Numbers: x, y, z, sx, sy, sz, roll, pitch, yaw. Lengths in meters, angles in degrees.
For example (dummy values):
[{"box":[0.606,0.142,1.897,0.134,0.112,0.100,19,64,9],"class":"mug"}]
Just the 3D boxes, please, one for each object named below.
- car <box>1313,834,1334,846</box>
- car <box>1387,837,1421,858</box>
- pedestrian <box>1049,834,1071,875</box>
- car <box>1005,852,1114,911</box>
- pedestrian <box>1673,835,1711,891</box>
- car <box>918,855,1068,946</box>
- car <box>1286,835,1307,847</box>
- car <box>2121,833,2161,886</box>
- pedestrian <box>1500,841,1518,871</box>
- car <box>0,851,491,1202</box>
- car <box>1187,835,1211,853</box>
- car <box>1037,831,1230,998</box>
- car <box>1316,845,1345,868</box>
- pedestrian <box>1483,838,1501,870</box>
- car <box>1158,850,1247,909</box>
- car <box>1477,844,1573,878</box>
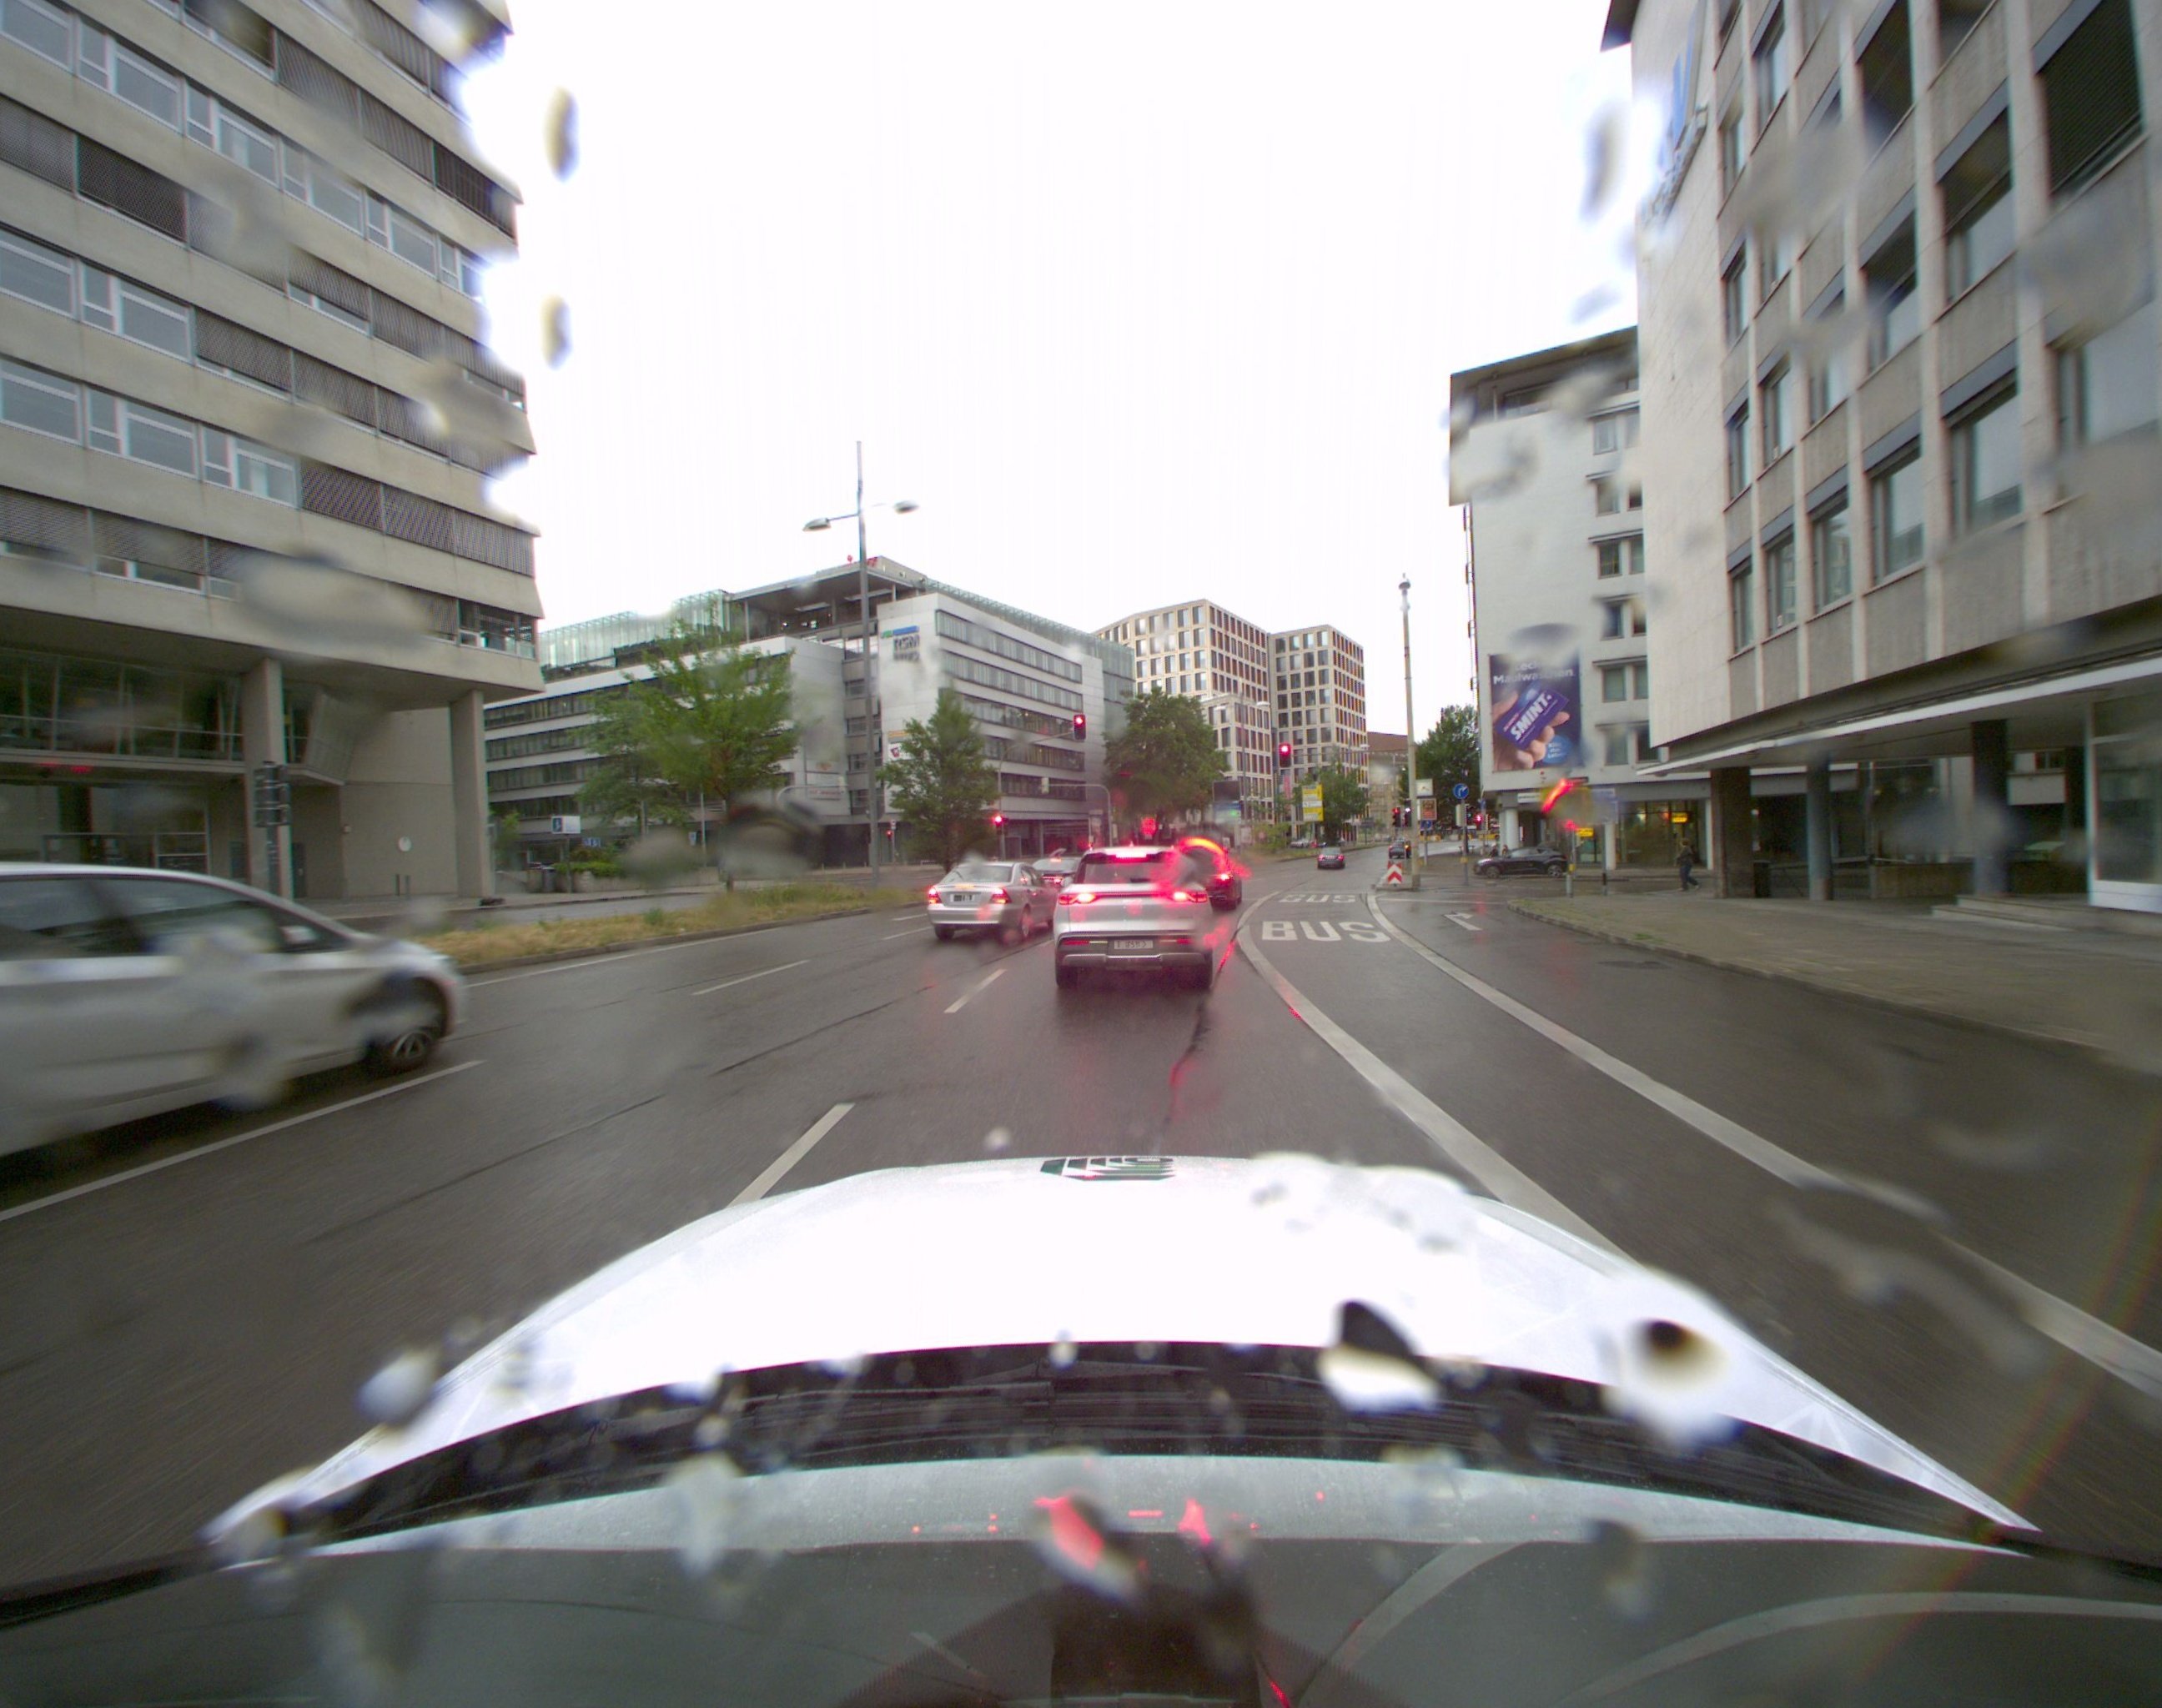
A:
[{"box":[38.252,-2.253,128.365,1.974,1.705,4.026,0,2,33],"class":"car"},{"box":[28.451,-0.564,71.594,2.027,1.765,4.384,0,1,32],"class":"car"},{"box":[-0.922,0.027,35.709,0.919,1.738,0.729,-1,0,0],"class":"pedestrian"},{"box":[-0.502,0.723,23.324,1.940,1.530,4.018,-1,0,16],"class":"car"},{"box":[20.163,0.297,26.895,0.806,1.798,0.714,-1,0,21],"class":"pedestrian"},{"box":[-1.553,0.810,15.998,1.671,1.486,4.210,-1,0,12],"class":"car"},{"box":[33.116,-1.936,125.137,1.974,1.705,4.337,0,2,32],"class":"car"},{"box":[38.401,0.133,27.624,4.517,1.750,1.993,-1,0,-11],"class":"car"},{"box":[22.535,0.103,42.934,0.721,1.524,0.764,-1,-1,21],"class":"pedestrian"},{"box":[-5.746,0.794,4.514,1.778,1.573,4.287,-1,0,0],"class":"car"},{"box":[14.132,-1.184,97.517,1.722,2.161,4.519,0,0,23],"class":"car"},{"box":[0.632,0.632,10.805,1.986,1.709,4.485,-1,0,2],"class":"car"},{"box":[17.508,0.141,57.129,1.895,1.510,4.376,0,1,17],"class":"car"},{"box":[21.913,0.009,43.429,0.721,1.668,0.694,-1,-1,21],"class":"pedestrian"},{"box":[3.590,0.676,23.470,1.940,1.530,4.018,-1,0,16],"class":"car"},{"box":[21.450,0.304,39.497,3.951,1.552,2.011,0,1,24],"class":"car"}]
